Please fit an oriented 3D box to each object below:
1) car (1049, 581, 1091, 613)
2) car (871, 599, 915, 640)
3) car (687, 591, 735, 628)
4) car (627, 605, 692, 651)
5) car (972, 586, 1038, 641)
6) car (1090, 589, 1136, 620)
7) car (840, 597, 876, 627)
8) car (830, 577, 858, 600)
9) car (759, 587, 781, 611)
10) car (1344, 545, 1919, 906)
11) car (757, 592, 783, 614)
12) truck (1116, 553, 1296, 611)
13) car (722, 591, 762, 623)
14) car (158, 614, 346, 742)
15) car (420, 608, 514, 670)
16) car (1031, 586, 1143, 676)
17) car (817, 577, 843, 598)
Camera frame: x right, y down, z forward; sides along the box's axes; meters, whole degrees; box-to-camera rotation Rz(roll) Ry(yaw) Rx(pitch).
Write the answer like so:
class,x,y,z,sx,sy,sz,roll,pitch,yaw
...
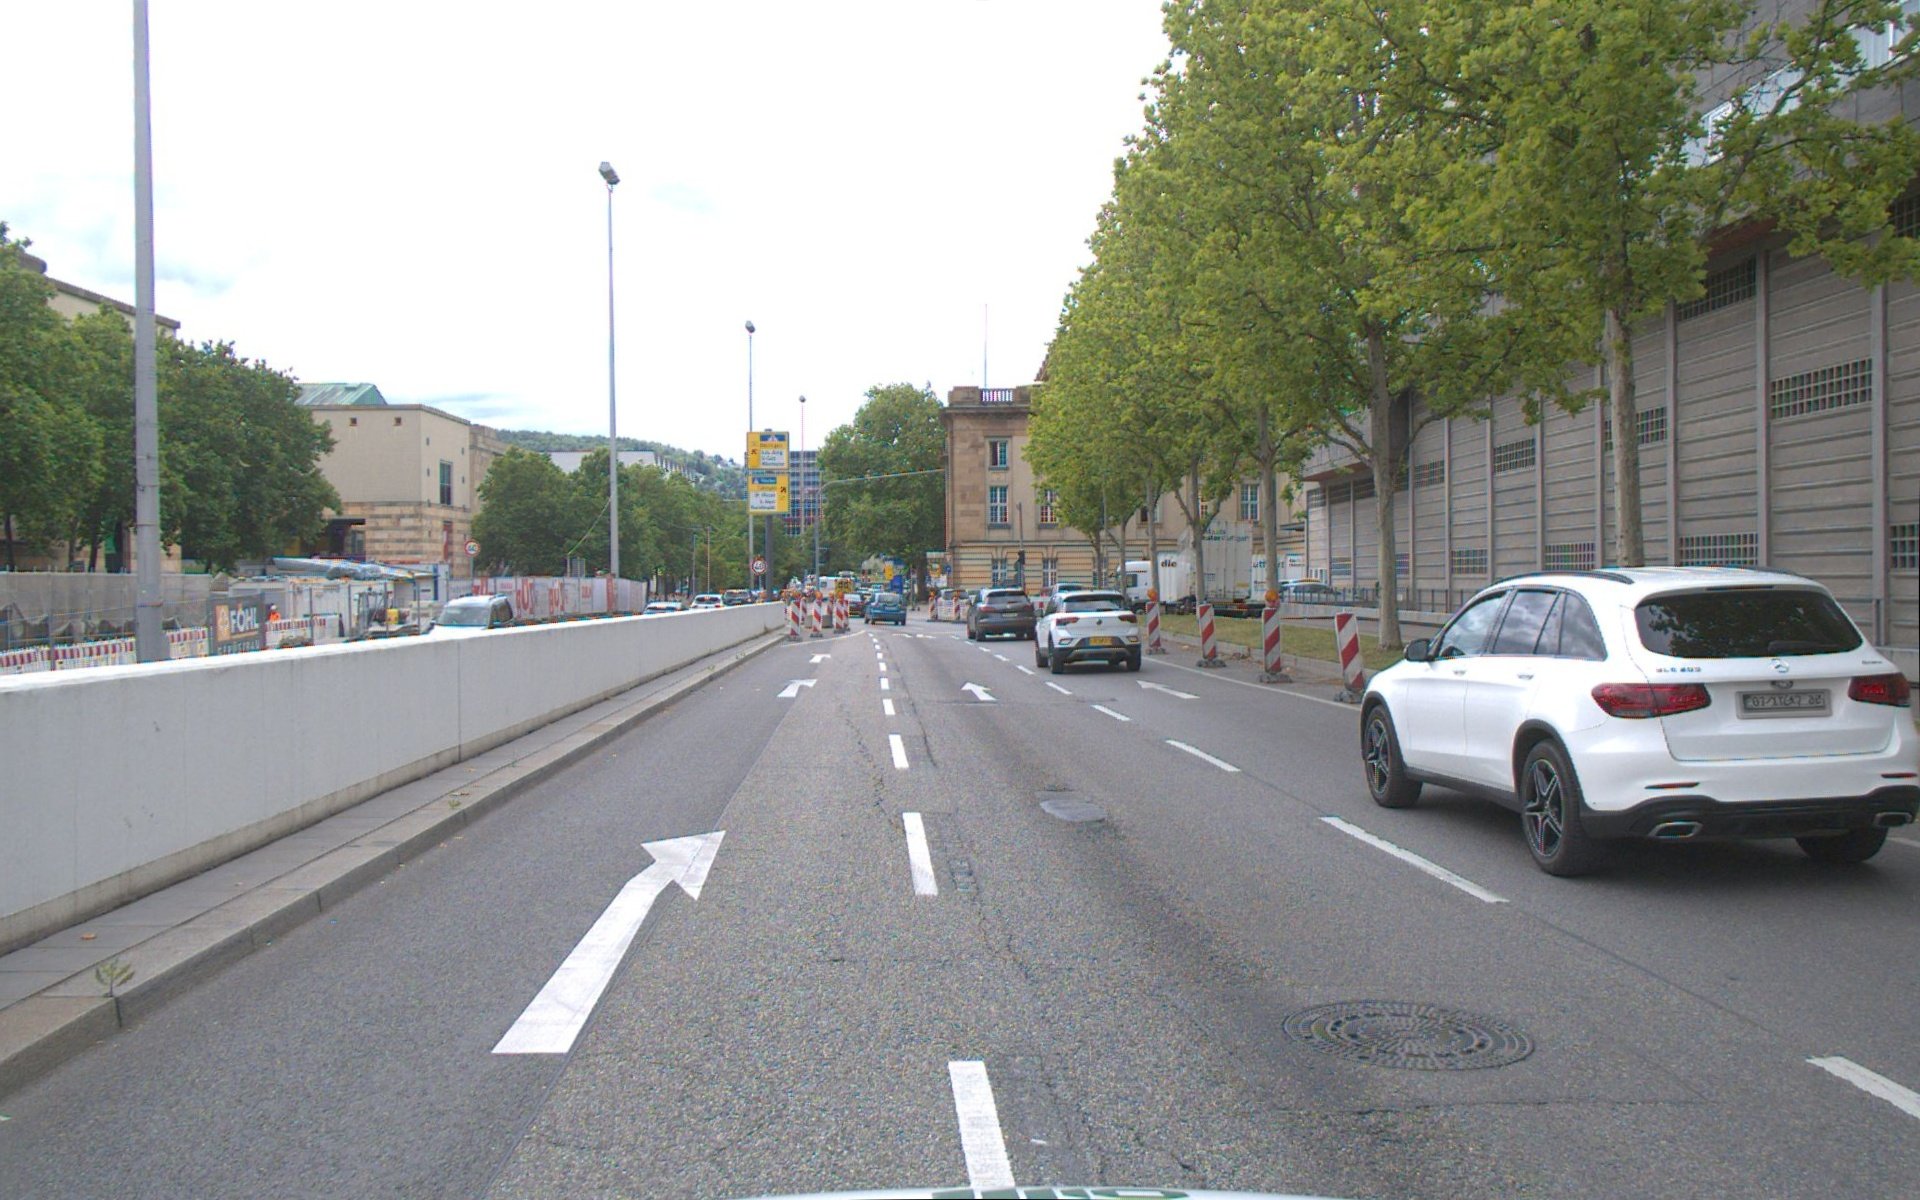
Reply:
class,x,y,z,sx,sy,sz,roll,pitch,yaw
car,5.694,-0.137,86.178,1.715,1.595,4.329,0,0,-3
car,-3.115,0.877,77.585,1.786,1.771,4.481,-1,1,1
car,-11.324,0.414,75.373,1.715,1.595,3.376,1,0,-2
car,-10.937,1.003,60.493,1.715,1.595,4.329,0,0,-2
car,1.429,0.447,53.872,1.787,1.595,4.477,-4,0,-2
car,7.890,0.245,85.540,1.819,1.595,4.329,0,0,-3
car,-6.274,0.735,102.433,1.785,1.771,4.480,-2,-1,2
car,-12.950,-1.319,185.317,2.529,2.415,5.528,-1,1,1
car,-17.390,-0.126,151.675,1.955,2.048,3.996,-1,2,-6
car,3.969,0.564,10.413,1.776,1.671,4.550,-3,1,-3
car,-13.673,0.220,119.153,1.717,1.595,4.326,0,0,-6
truck,13.935,-1.003,94.146,9.828,3.104,2.568,-1,-1,-2
car,-11.743,0.383,89.175,1.715,1.595,3.376,-3,0,-2
car,-13.272,1.399,31.280,1.954,2.048,3.998,-1,2,-3
car,-14.203,1.096,47.796,1.715,1.595,3.376,-3,0,-2
car,2.499,0.563,33.416,1.715,1.595,4.330,-3,1,-2
car,-15.445,-1.523,196.902,2.529,2.415,5.528,-1,1,1
